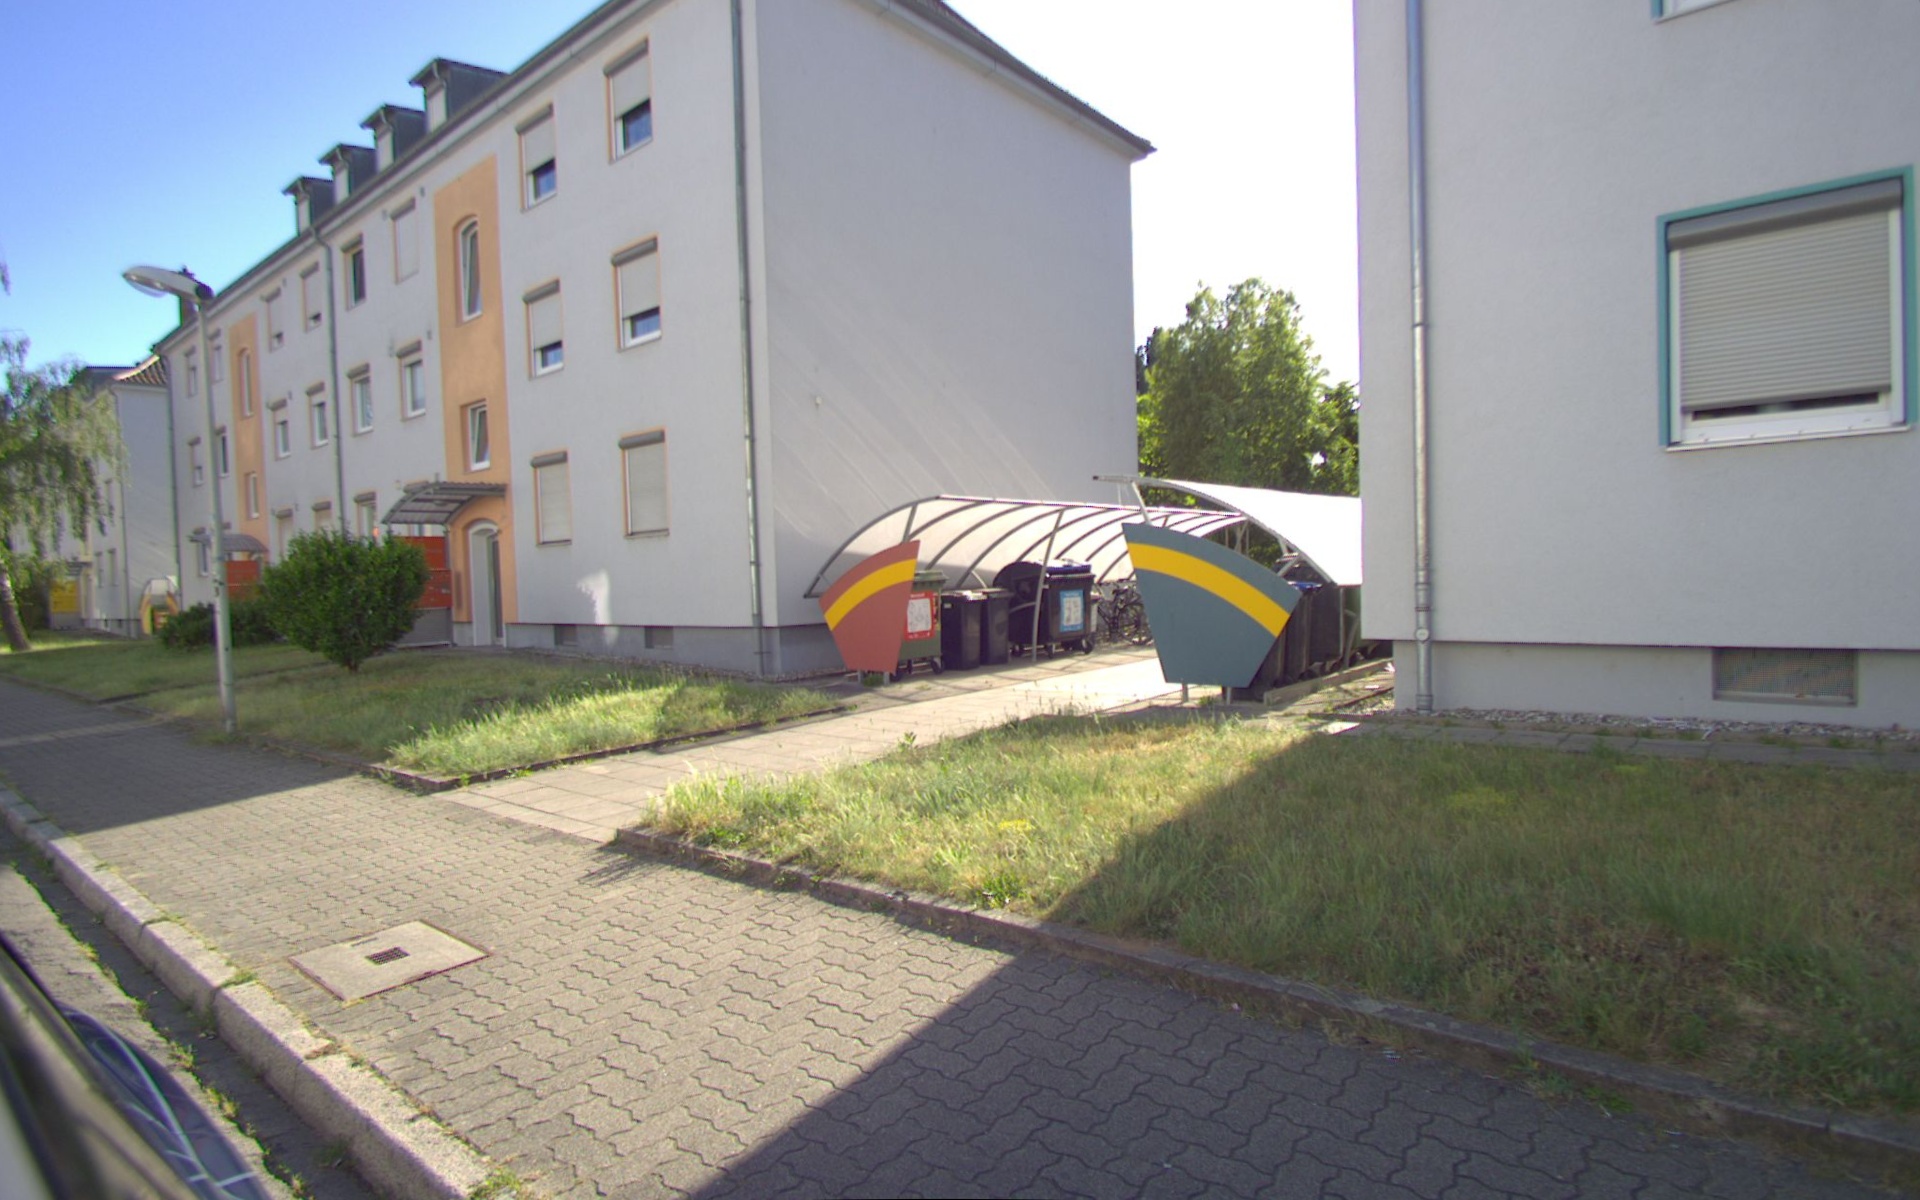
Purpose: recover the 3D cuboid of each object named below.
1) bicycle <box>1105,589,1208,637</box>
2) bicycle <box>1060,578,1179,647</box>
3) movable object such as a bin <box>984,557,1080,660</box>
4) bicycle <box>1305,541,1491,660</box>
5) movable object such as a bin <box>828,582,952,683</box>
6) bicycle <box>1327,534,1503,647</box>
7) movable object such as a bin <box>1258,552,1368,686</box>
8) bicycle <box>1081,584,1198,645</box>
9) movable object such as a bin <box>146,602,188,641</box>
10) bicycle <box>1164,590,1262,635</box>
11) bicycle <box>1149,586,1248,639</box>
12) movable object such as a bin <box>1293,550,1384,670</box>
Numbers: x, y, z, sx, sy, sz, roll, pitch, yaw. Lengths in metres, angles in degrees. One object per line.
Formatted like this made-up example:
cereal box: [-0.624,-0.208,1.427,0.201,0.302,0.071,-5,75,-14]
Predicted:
bicycle: [3.447,0.234,17.846,1.732,0.803,0.503,-1,2,41]
bicycle: [2.629,0.218,16.821,1.940,1.075,0.503,-1,2,41]
movable object such as a bin: [1.093,0.118,15.237,0.946,1.452,1.049,-2,2,40]
bicycle: [5.993,0.014,13.939,2.197,1.521,0.695,-1,2,41]
movable object such as a bin: [-0.882,0.389,12.963,0.909,1.177,1.300,-2,1,40]
bicycle: [6.568,-0.121,14.701,2.197,1.536,0.656,-2,1,41]
movable object such as a bin: [3.888,0.187,11.096,0.903,1.366,1.241,-2,1,29]
bicycle: [3.051,0.248,17.316,1.929,0.955,0.544,-1,3,41]
movable object such as a bin: [-30.357,0.801,38.747,0.812,1.416,1.073,-2,2,41]
bicycle: [4.776,0.245,19.172,1.732,0.803,0.503,-1,2,41]
bicycle: [4.399,0.230,18.730,1.732,0.916,0.503,-1,2,41]
movable object such as a bin: [4.613,0.101,12.287,0.800,1.358,1.246,-2,2,30]
